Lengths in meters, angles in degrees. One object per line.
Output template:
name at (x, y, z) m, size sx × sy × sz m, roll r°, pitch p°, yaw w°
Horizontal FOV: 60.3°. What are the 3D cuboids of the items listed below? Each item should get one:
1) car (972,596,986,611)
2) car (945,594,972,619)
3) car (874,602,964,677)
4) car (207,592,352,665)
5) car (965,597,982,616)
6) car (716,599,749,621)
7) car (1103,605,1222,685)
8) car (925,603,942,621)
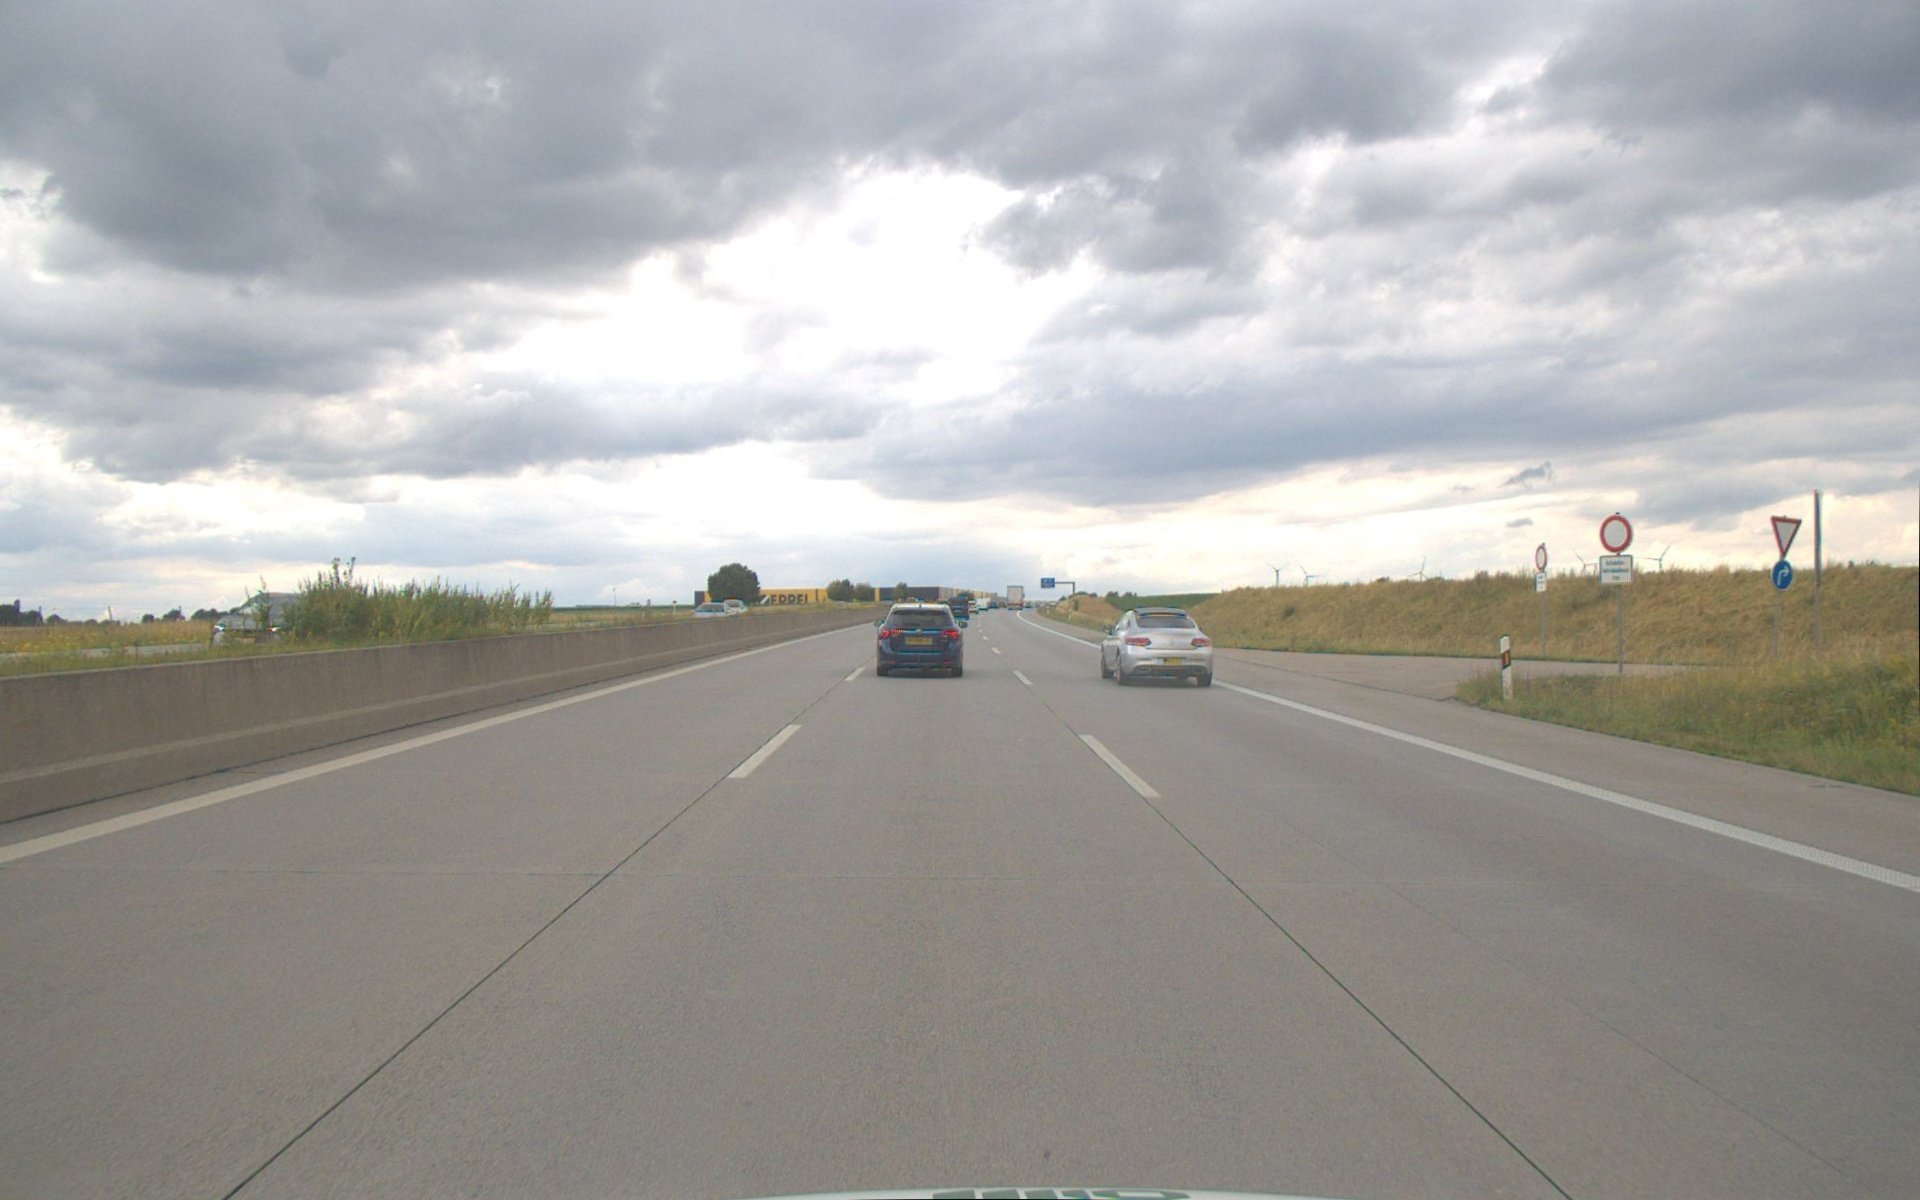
car at (2.752, 0.559, 242.297) m, size 1.953 × 2.049 × 3.999 m, roll 1°, pitch -1°, yaw 0°
car at (-0.145, 0.571, 138.033) m, size 1.954 × 2.049 × 3.996 m, roll 1°, pitch -1°, yaw -4°
car at (-0.862, 0.789, 34.274) m, size 1.739 × 1.438 × 3.998 m, roll 0°, pitch -1°, yaw -2°
car at (-15.552, 0.619, 38.035) m, size 1.622 × 1.594 × 4.222 m, roll 0°, pitch 0°, yaw -1°
car at (1.585, 0.765, 193.088) m, size 1.952 × 2.049 × 4.001 m, roll 2°, pitch 0°, yaw 1°
car at (-16.297, 0.721, 118.801) m, size 1.742 × 1.533 × 4.516 m, roll 1°, pitch -1°, yaw 0°
car at (3.829, 0.831, 31.921) m, size 1.752 × 1.428 × 4.221 m, roll 0°, pitch -1°, yaw 0°
car at (-3.124, 1.482, 197.356) m, size 2.005 × 2.049 × 3.999 m, roll 1°, pitch -1°, yaw -1°
